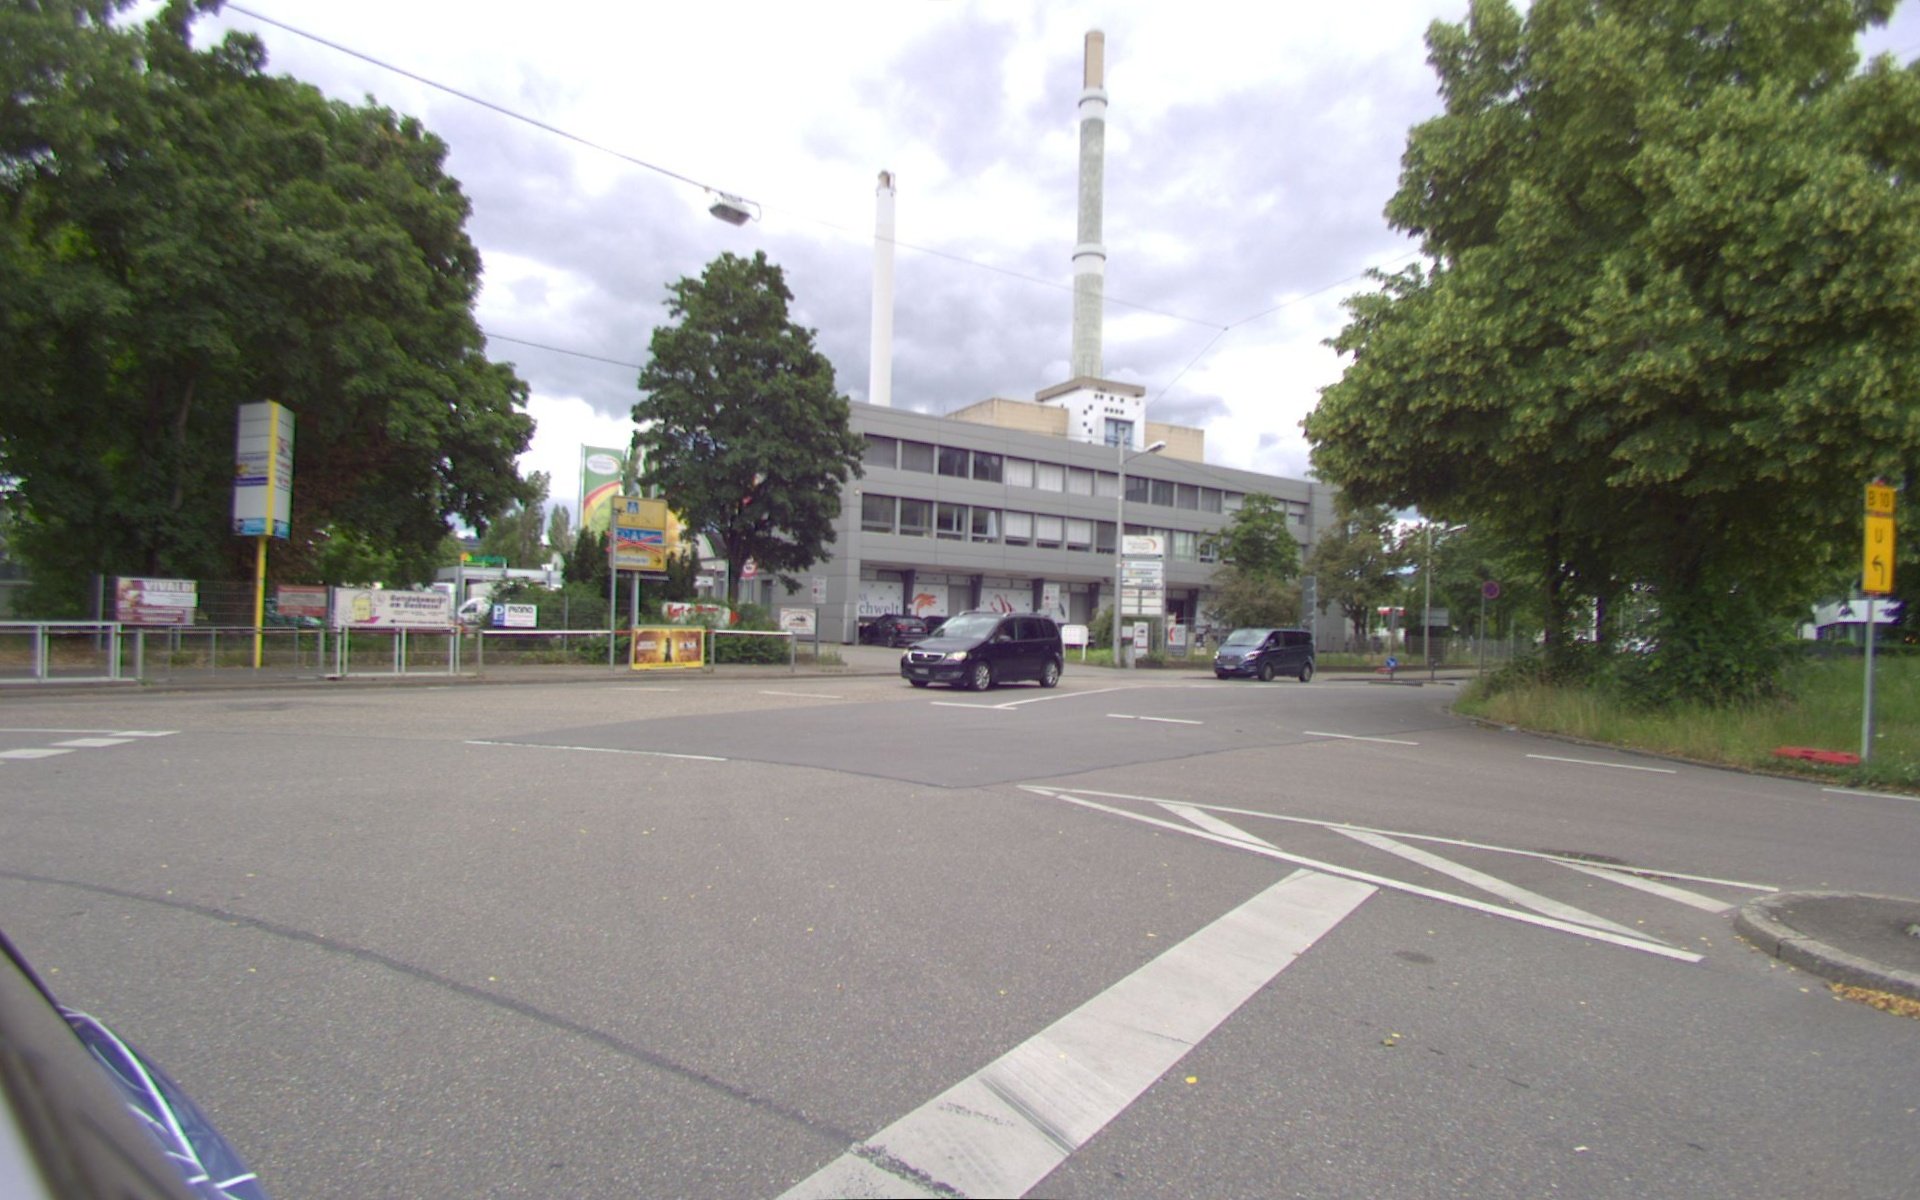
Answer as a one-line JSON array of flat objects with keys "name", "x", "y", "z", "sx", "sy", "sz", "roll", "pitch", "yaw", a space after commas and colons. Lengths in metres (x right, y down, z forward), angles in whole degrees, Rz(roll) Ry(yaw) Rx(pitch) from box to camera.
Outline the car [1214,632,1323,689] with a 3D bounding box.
[{"name": "car", "x": 11.517, "y": 2.198, "z": 37.577, "sx": 4.732, "sy": 1.960, "sz": 1.834, "roll": 3, "pitch": -3, "yaw": -45}]

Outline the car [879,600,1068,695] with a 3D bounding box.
[{"name": "car", "x": 0.394, "y": 1.035, "z": 21.282, "sx": 1.830, "sy": 1.785, "sz": 4.176, "roll": 0, "pitch": -4, "yaw": 37}]

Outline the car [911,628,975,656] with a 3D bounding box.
[{"name": "car", "x": -0.919, "y": 2.164, "z": 53.157, "sx": 1.748, "sy": 1.187, "sz": 3.583, "roll": -1, "pitch": 2, "yaw": -32}]

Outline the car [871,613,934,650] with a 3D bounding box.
[{"name": "car", "x": -2.981, "y": 1.587, "z": 51.831, "sx": 1.748, "sy": 1.691, "sz": 3.583, "roll": -1, "pitch": 2, "yaw": -32}]
